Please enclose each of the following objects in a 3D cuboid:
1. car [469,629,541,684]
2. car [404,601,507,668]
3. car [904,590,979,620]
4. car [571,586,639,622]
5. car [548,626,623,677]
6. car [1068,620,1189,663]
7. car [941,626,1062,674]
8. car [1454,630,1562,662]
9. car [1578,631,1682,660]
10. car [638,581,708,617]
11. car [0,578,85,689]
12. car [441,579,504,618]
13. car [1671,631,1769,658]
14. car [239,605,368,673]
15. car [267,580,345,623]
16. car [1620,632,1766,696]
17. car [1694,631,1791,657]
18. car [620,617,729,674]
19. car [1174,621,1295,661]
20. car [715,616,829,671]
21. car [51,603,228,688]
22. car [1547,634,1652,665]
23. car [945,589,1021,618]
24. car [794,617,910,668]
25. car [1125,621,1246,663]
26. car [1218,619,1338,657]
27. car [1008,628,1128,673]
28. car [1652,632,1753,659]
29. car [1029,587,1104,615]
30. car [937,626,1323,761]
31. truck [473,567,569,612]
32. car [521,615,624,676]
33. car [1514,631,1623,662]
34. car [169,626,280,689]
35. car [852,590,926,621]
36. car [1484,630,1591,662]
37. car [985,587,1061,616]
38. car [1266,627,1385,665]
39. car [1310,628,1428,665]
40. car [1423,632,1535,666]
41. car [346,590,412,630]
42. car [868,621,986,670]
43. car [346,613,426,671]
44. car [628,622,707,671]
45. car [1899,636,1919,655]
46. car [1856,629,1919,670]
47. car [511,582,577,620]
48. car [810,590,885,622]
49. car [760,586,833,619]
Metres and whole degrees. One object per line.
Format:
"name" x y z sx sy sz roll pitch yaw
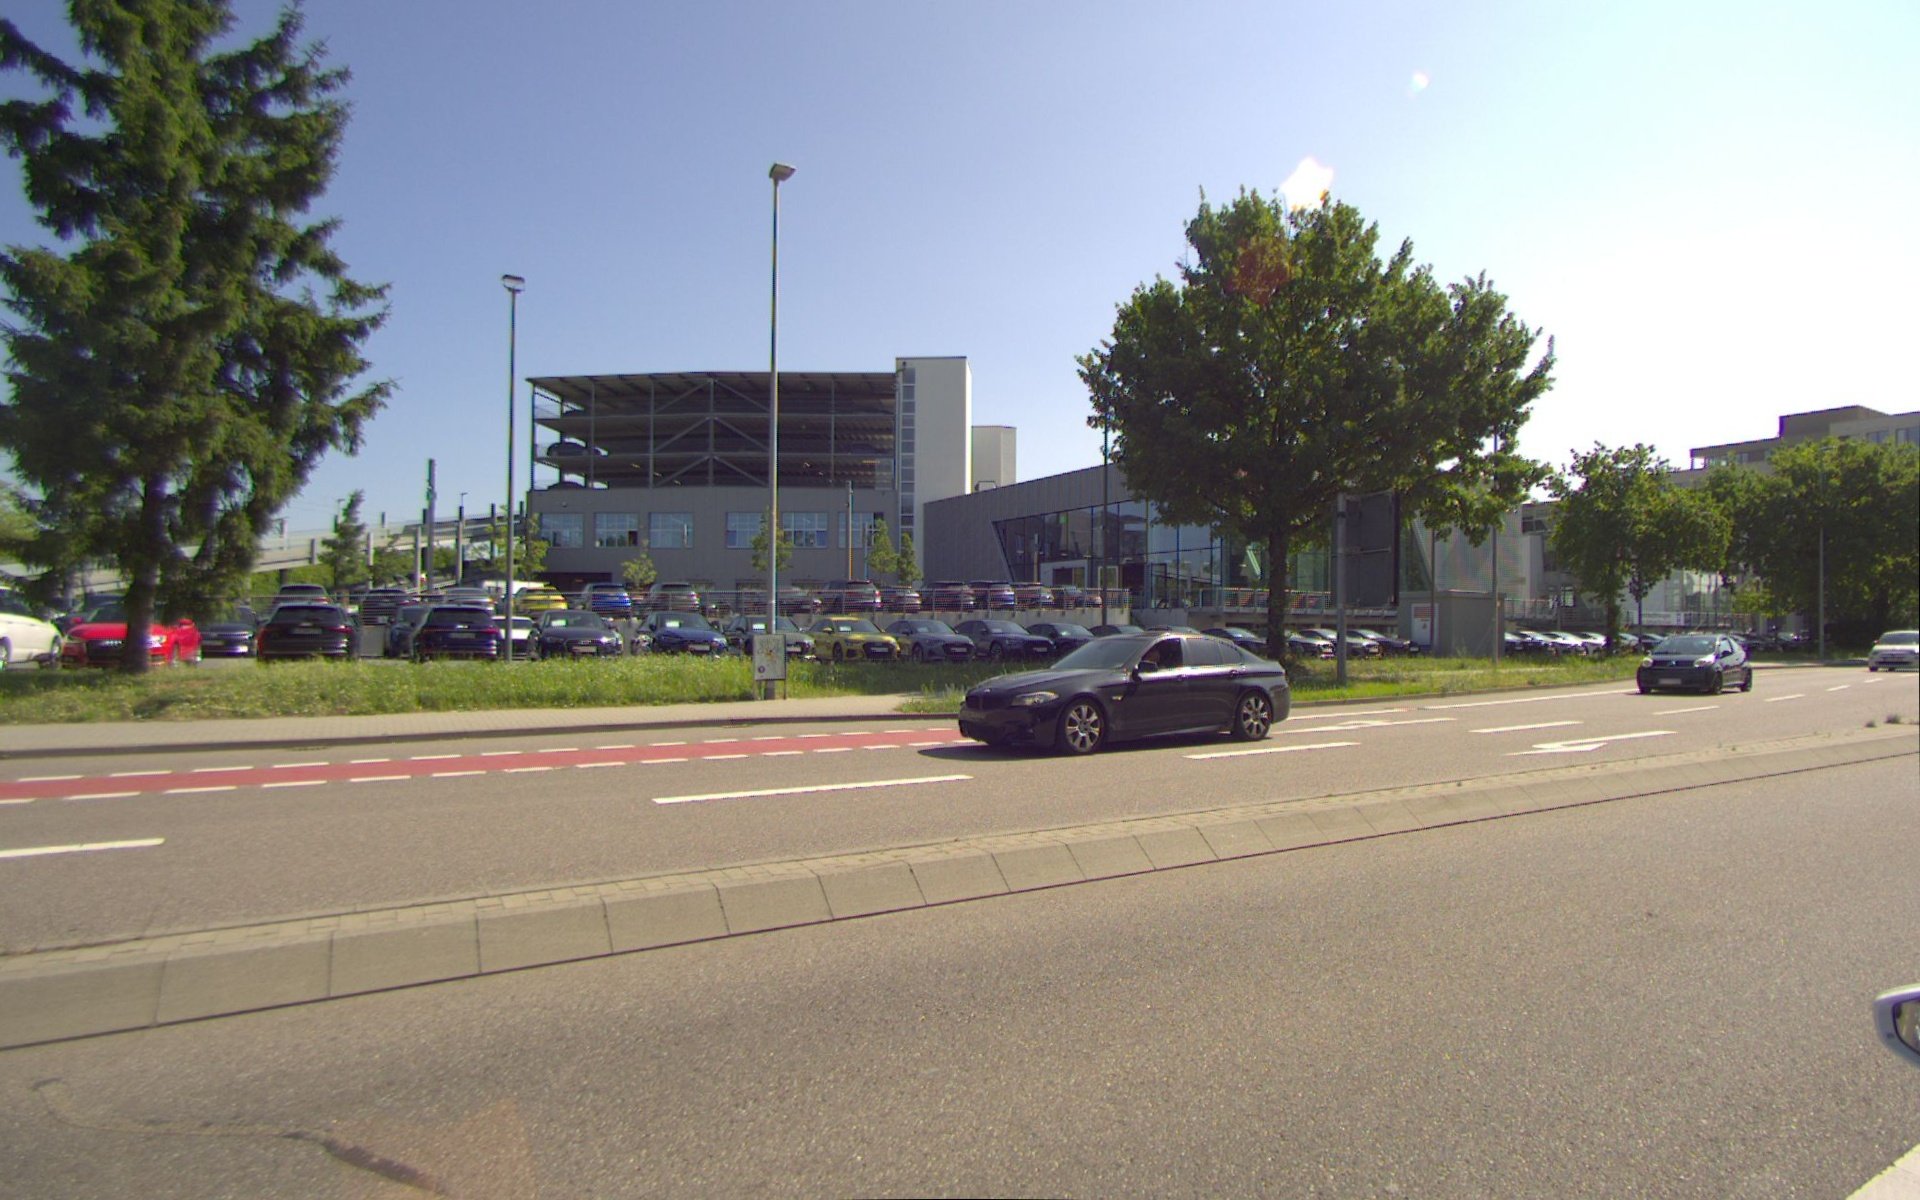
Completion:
"car" -15.082 1.793 33.201 1.929 1.664 4.250 1 -2 -27
"car" -11.670 0.779 23.230 1.929 1.399 4.250 1 -2 -27
"car" -0.952 0.261 48.793 1.930 1.368 4.248 1 -2 -29
"car" -14.446 0.196 40.772 1.930 1.368 4.248 1 -2 -29
"car" -13.023 1.731 34.814 1.929 1.664 4.250 1 -2 -27
"car" 5.694 1.383 34.476 1.929 1.368 4.250 1 -2 -27
"car" 1.209 1.519 31.450 1.929 1.368 4.250 1 -2 -27
"car" 24.875 2.067 45.738 1.843 1.394 3.969 1 -2 -30
"car" 33.732 2.258 50.700 1.901 1.394 3.969 1 -2 -30
"car" -12.057 0.009 41.999 1.930 1.368 4.248 1 -2 -29
"car" -18.286 0.596 18.760 1.929 1.909 4.250 1 -2 -27
"car" -18.441 -0.013 37.882 1.930 1.368 4.248 1 -2 -29
"car" 42.279 2.445 55.948 1.901 1.394 3.969 1 -2 -30
"car" -14.364 0.826 22.206 1.929 1.346 4.250 1 -2 -27
"car" -22.818 0.097 35.176 1.930 1.368 4.248 1 -2 -29
"car" 17.956 1.542 24.574 3.962 1.433 1.771 2 -4 -37
"car" 44.380 2.496 57.042 1.901 1.394 3.969 1 -2 -30
"car" -7.566 1.149 26.373 1.929 1.368 4.250 1 -2 -27
"car" 9.995 1.476 36.832 1.929 1.368 4.250 1 -2 -27
"car" -5.260 1.152 27.644 1.929 1.368 4.250 1 -2 -27
"car" -16.538 0.882 20.502 1.929 1.523 4.250 1 -2 -27
"car" 31.380 2.403 49.413 1.901 1.394 3.969 1 -2 -30
"car" 1.106 0.205 49.957 1.930 1.368 4.248 1 -2 -29
"car" -3.202 1.188 29.033 1.929 1.368 4.250 1 -2 -27
"car" 7.884 1.454 35.542 1.929 1.368 4.250 1 -2 -27
"car" 12.042 1.431 38.299 1.929 1.368 4.250 1 -2 -27
"car" 3.472 1.620 33.054 1.929 1.368 4.250 1 -2 -27
"car" 40.086 2.427 54.310 1.901 1.394 3.969 1 -2 -30
"car" 5.595 0.069 53.271 1.930 1.368 4.248 1 -2 -29
"car" 2.291 1.128 13.072 4.942 1.482 1.833 1 -4 -31
"truck" -32.086 -0.697 73.883 2.612 2.955 8.468 0 -2 6
"car" -9.722 1.091 25.018 1.929 1.368 4.250 1 -2 -27
"car" 29.118 2.191 48.201 2.001 1.394 4.024 1 -2 -30
"car" -21.191 1.598 29.134 1.929 1.664 4.250 1 -2 -27
"car" -3.434 0.296 48.024 1.930 1.368 4.248 1 -2 -29
"car" 26.850 2.130 46.814 1.843 1.394 3.969 1 -2 -30
"car" 3.209 0.127 51.822 1.930 1.368 4.248 1 -2 -29
"car" 14.301 1.770 39.567 1.929 1.368 4.250 1 -2 -27
"car" 16.544 1.856 40.811 1.929 1.368 4.250 1 -2 -27
"car" 22.832 2.116 44.293 1.976 1.394 3.969 1 -2 -30
"car" -21.027 0.394 36.486 1.930 1.368 4.248 1 -2 -29
"car" -1.084 1.321 30.356 1.929 1.368 4.250 1 -2 -27
"car" -17.684 1.262 31.116 1.929 1.664 4.250 1 -2 -27
"car" -10.618 1.640 36.245 1.929 1.664 4.250 1 -2 -27
"car" 70.552 3.273 72.274 1.977 1.361 3.967 1 -2 -31
"car" 35.160 1.838 37.532 3.512 1.483 1.644 1 -3 -33
"car" -16.337 0.080 39.382 1.930 1.368 4.248 1 -2 -29
"car" -5.209 0.328 45.981 1.930 1.368 4.248 1 -2 -29
"car" -7.330 0.156 44.784 1.930 1.368 4.248 1 -2 -29
